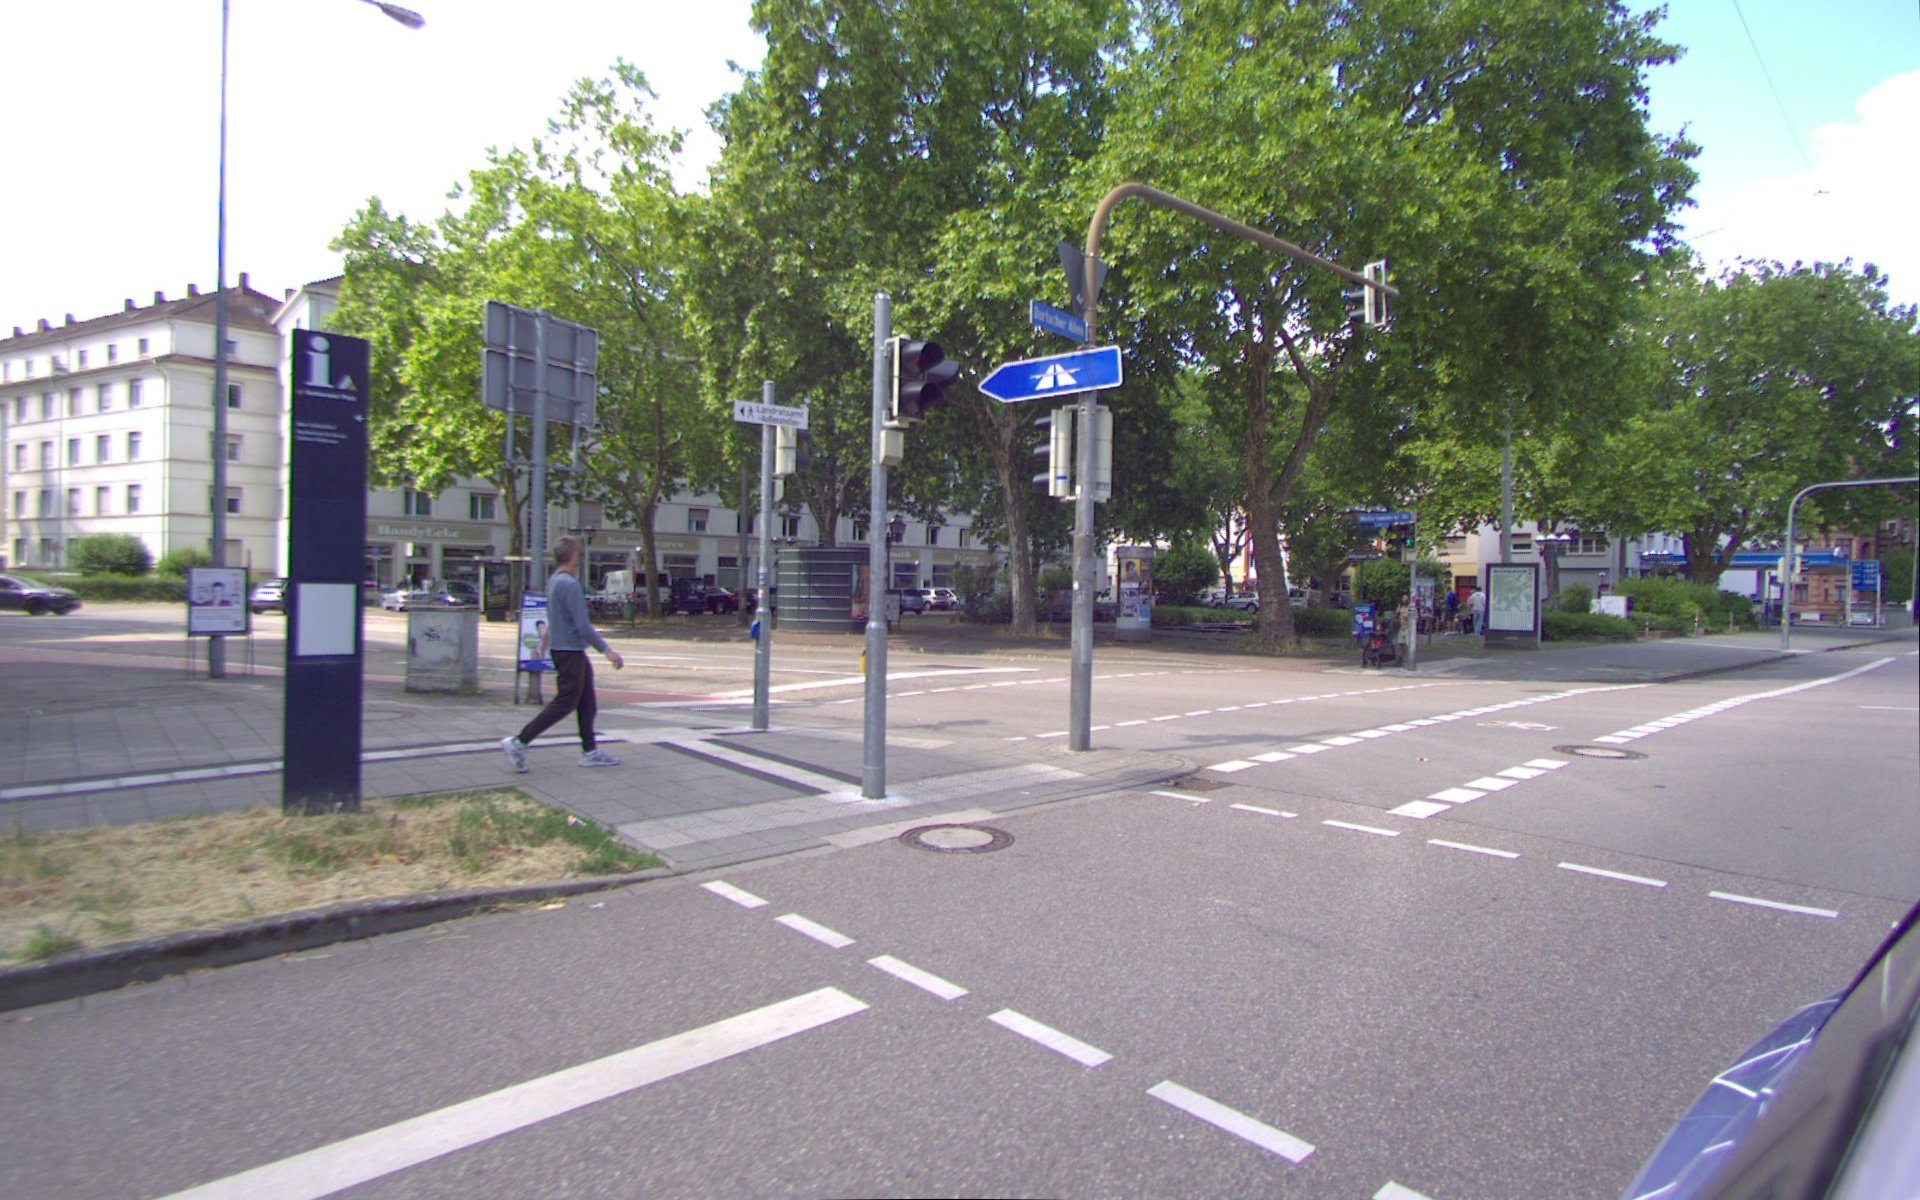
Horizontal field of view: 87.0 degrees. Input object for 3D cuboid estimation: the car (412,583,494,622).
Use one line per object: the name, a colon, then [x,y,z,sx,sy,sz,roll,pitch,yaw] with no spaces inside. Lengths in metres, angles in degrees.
car: [-22.178,0.063,44.204,2.000,1.620,4.528,0,1,-43]

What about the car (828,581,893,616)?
car: [-6.010,-0.129,60.760,1.965,2.039,3.994,0,0,-40]

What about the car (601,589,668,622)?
car: [-14.592,0.214,45.276,3.052,1.407,1.449,0,0,40]

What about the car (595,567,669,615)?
car: [-16.085,-0.434,49.490,1.965,2.210,4.250,0,0,-41]

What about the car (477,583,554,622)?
car: [-20.628,0.097,46.856,1.880,1.711,4.528,0,1,-43]

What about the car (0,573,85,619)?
car: [-35.903,-0.182,38.036,4.225,1.682,1.796,1,0,-14]

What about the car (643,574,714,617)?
car: [-14.405,-0.252,51.598,1.965,2.102,3.993,0,0,-41]

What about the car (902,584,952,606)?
car: [-2.531,-0.388,76.827,1.713,1.657,3.995,0,0,-40]

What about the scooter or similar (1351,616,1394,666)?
scooter or similar: [8.994,0.886,22.071,0.694,1.069,0.492,1,0,-11]

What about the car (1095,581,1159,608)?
car: [12.567,-0.434,76.370,2.067,1.929,4.485,0,0,-40]

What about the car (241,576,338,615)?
car: [-28.704,-0.212,43.461,1.667,1.557,3.463,1,1,6]

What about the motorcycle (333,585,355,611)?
motorcycle: [-30.875,-0.115,50.702,0.562,1.259,1.880,0,0,-44]

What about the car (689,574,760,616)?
car: [-12.364,-0.262,52.969,1.965,2.102,3.993,0,0,-41]

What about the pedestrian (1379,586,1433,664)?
pedestrian: [9.774,0.539,22.203,0.904,1.666,0.571,1,0,-11]

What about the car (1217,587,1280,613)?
car: [20.704,-0.033,72.713,1.836,1.823,3.995,0,0,-40]

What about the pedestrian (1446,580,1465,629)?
pedestrian: [18.173,0.155,37.115,0.599,1.772,0.693,1,0,24]

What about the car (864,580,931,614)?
car: [-3.848,-0.189,61.828,1.967,2.039,3.991,0,0,-43]

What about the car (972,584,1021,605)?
car: [2.924,-0.428,81.777,1.713,1.657,3.995,0,0,-40]

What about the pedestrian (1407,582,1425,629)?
pedestrian: [17.262,0.200,38.349,0.599,1.772,0.693,1,0,24]

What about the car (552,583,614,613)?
car: [-18.035,-0.105,48.411,3.222,1.407,1.448,0,0,42]

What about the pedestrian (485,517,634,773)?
pedestrian: [-3.040,0.311,7.689,0.871,1.806,0.694,0,0,-40]

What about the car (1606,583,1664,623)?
car: [42.707,0.146,63.984,3.930,2.451,2.109,0,0,-41]

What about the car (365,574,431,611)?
car: [-29.336,-0.390,52.734,1.880,1.818,4.708,0,1,-44]
